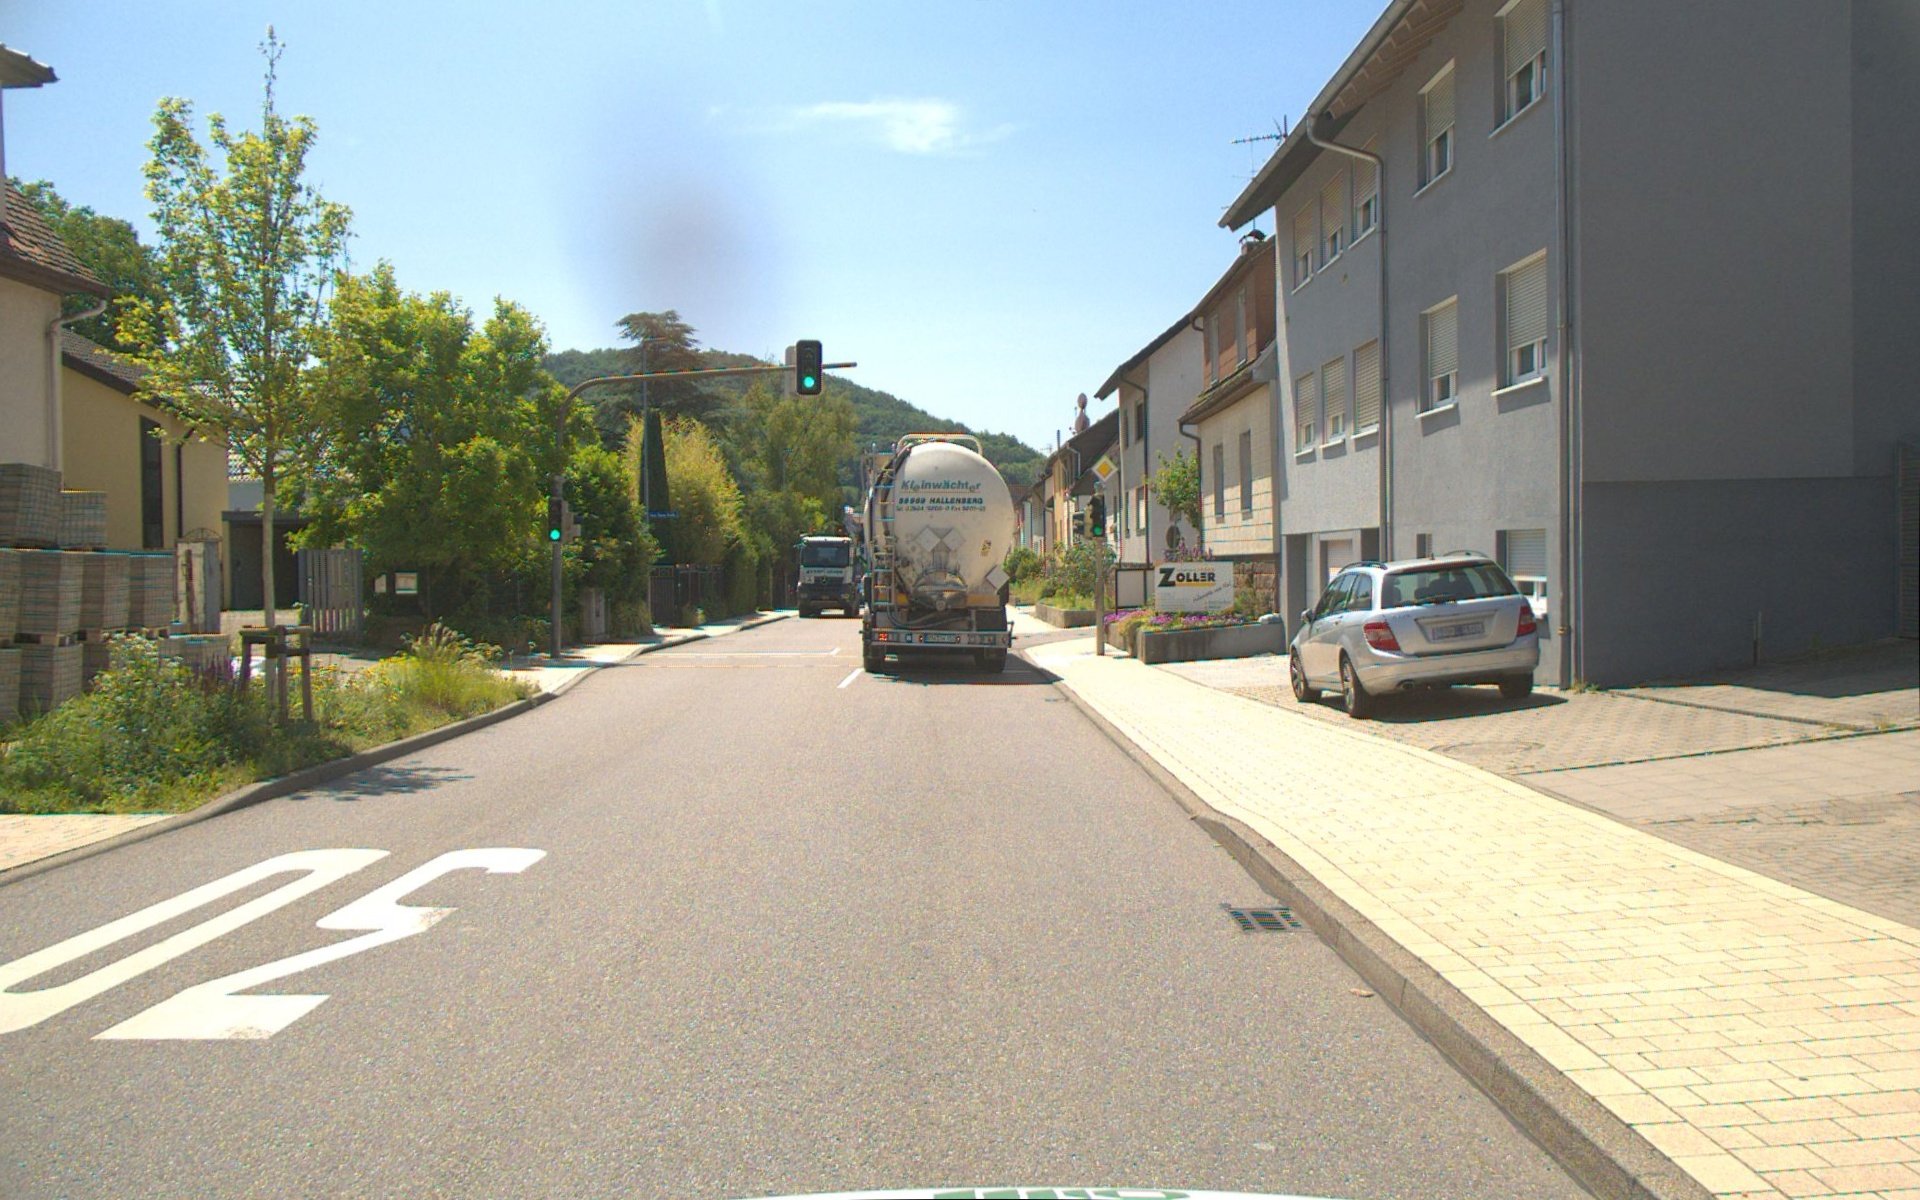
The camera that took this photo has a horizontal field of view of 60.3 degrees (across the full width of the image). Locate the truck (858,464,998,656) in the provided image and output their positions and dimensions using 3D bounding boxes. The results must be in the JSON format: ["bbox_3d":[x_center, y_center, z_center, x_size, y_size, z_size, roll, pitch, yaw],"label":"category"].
[{"bbox_3d":[-0.854,-0.857,37.915,2.754,4.005,6.092,1,0,-5],"label":"truck"}]

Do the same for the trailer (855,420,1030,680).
[{"bbox_3d":[-0.468,-0.831,31.174,2.740,4.071,10.319,0,0,-2],"label":"trailer"}]

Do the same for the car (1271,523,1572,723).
[{"bbox_3d":[4.540,0.183,17.009,1.755,1.567,4.520,-7,0,1],"label":"car"}]

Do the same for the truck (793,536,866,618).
[{"bbox_3d":[-5.779,-1.024,74.513,2.673,3.430,8.633,1,0,-1],"label":"truck"}]
